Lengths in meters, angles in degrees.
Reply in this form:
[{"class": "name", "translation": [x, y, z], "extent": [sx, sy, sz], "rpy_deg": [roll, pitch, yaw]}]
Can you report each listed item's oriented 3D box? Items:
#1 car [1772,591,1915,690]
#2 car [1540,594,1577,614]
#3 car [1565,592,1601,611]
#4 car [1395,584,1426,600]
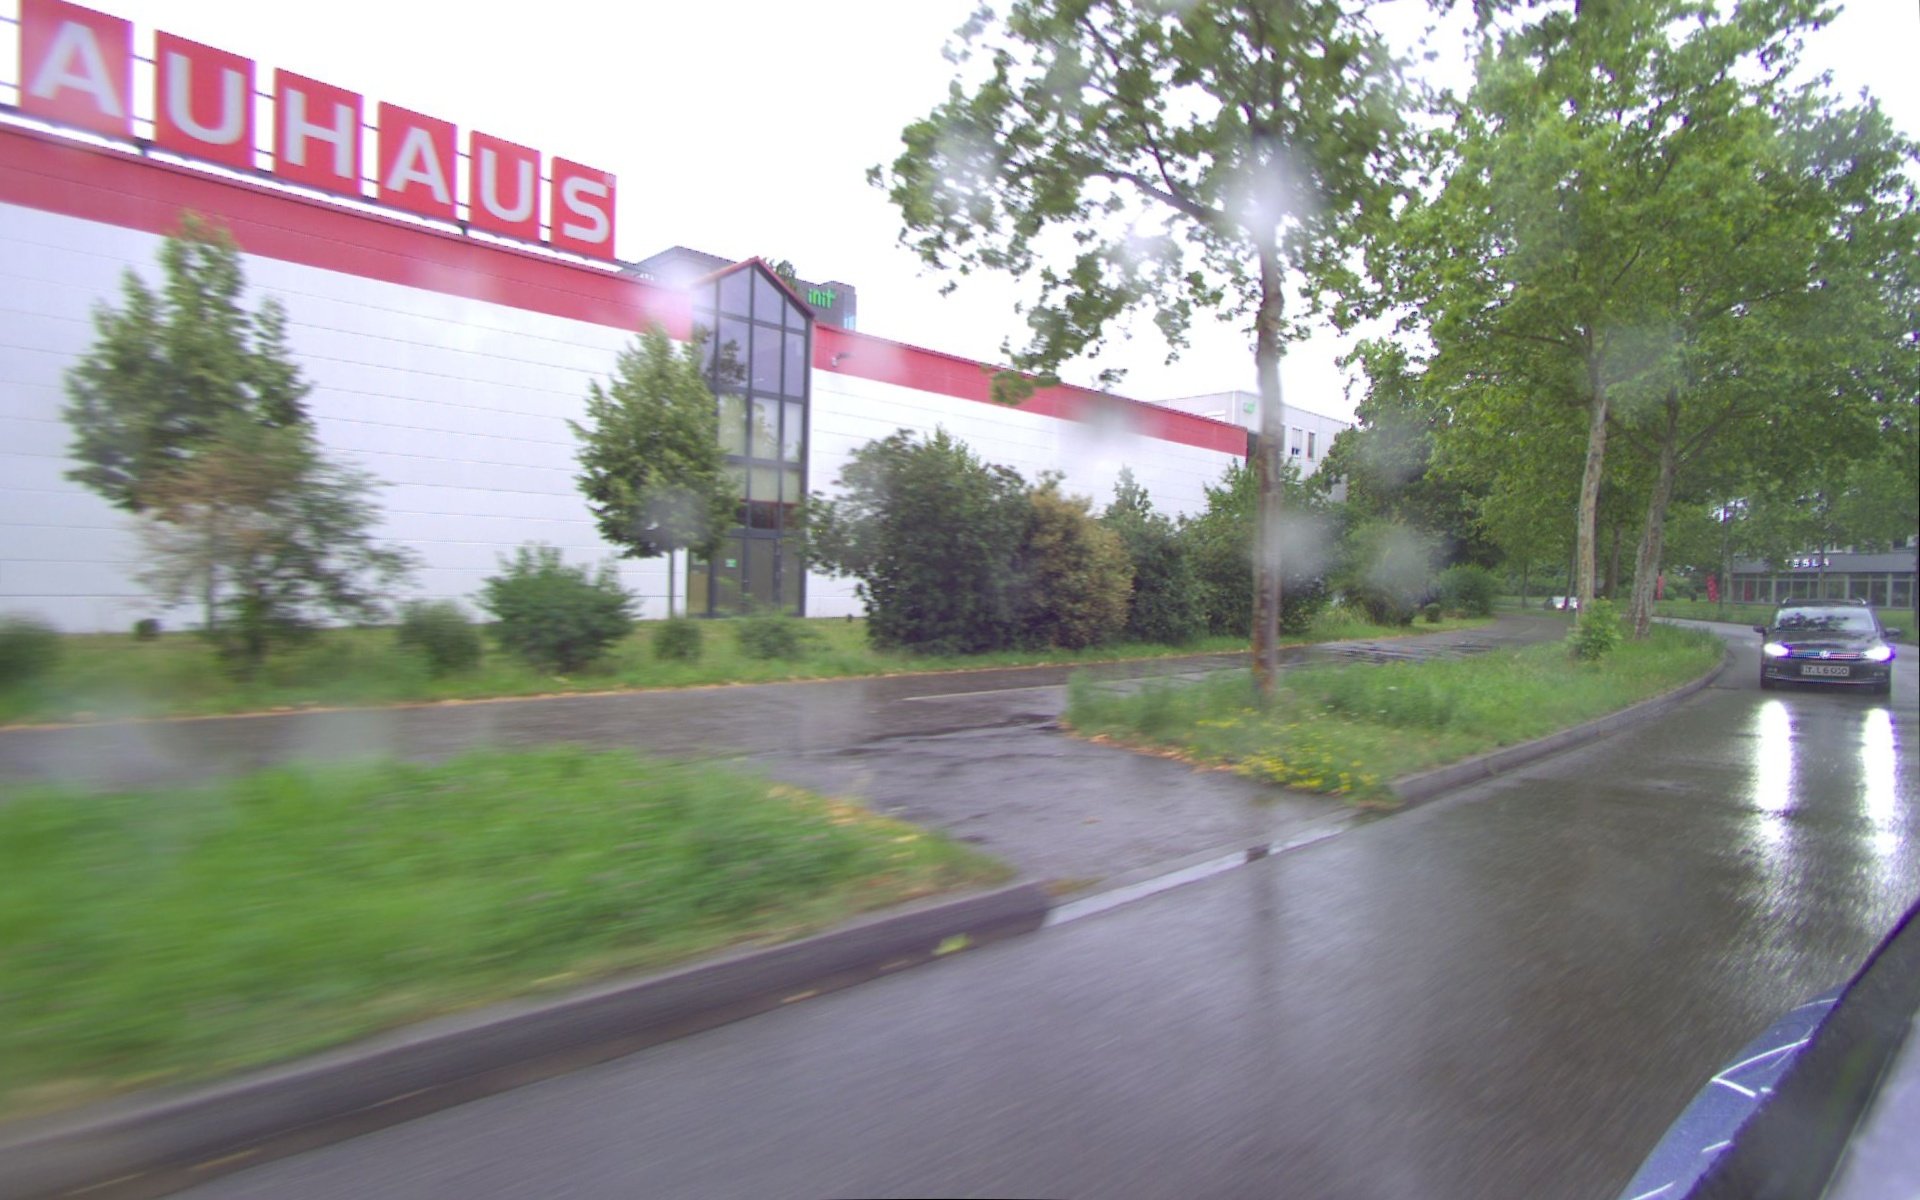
[{"class": "car", "translation": [16.167, 0.641, 18.610], "extent": [1.778, 1.575, 3.941], "rpy_deg": [2, 2, 40]}, {"class": "car", "translation": [50.522, 0.308, 85.467], "extent": [1.761, 1.575, 3.979], "rpy_deg": [1, 1, 17]}, {"class": "car", "translation": [57.199, 0.129, 92.937], "extent": [1.761, 1.575, 3.980], "rpy_deg": [1, 1, 16]}, {"class": "car", "translation": [38.421, -0.700, 86.303], "extent": [1.589, 1.375, 3.657], "rpy_deg": [1, 1, 37]}]
